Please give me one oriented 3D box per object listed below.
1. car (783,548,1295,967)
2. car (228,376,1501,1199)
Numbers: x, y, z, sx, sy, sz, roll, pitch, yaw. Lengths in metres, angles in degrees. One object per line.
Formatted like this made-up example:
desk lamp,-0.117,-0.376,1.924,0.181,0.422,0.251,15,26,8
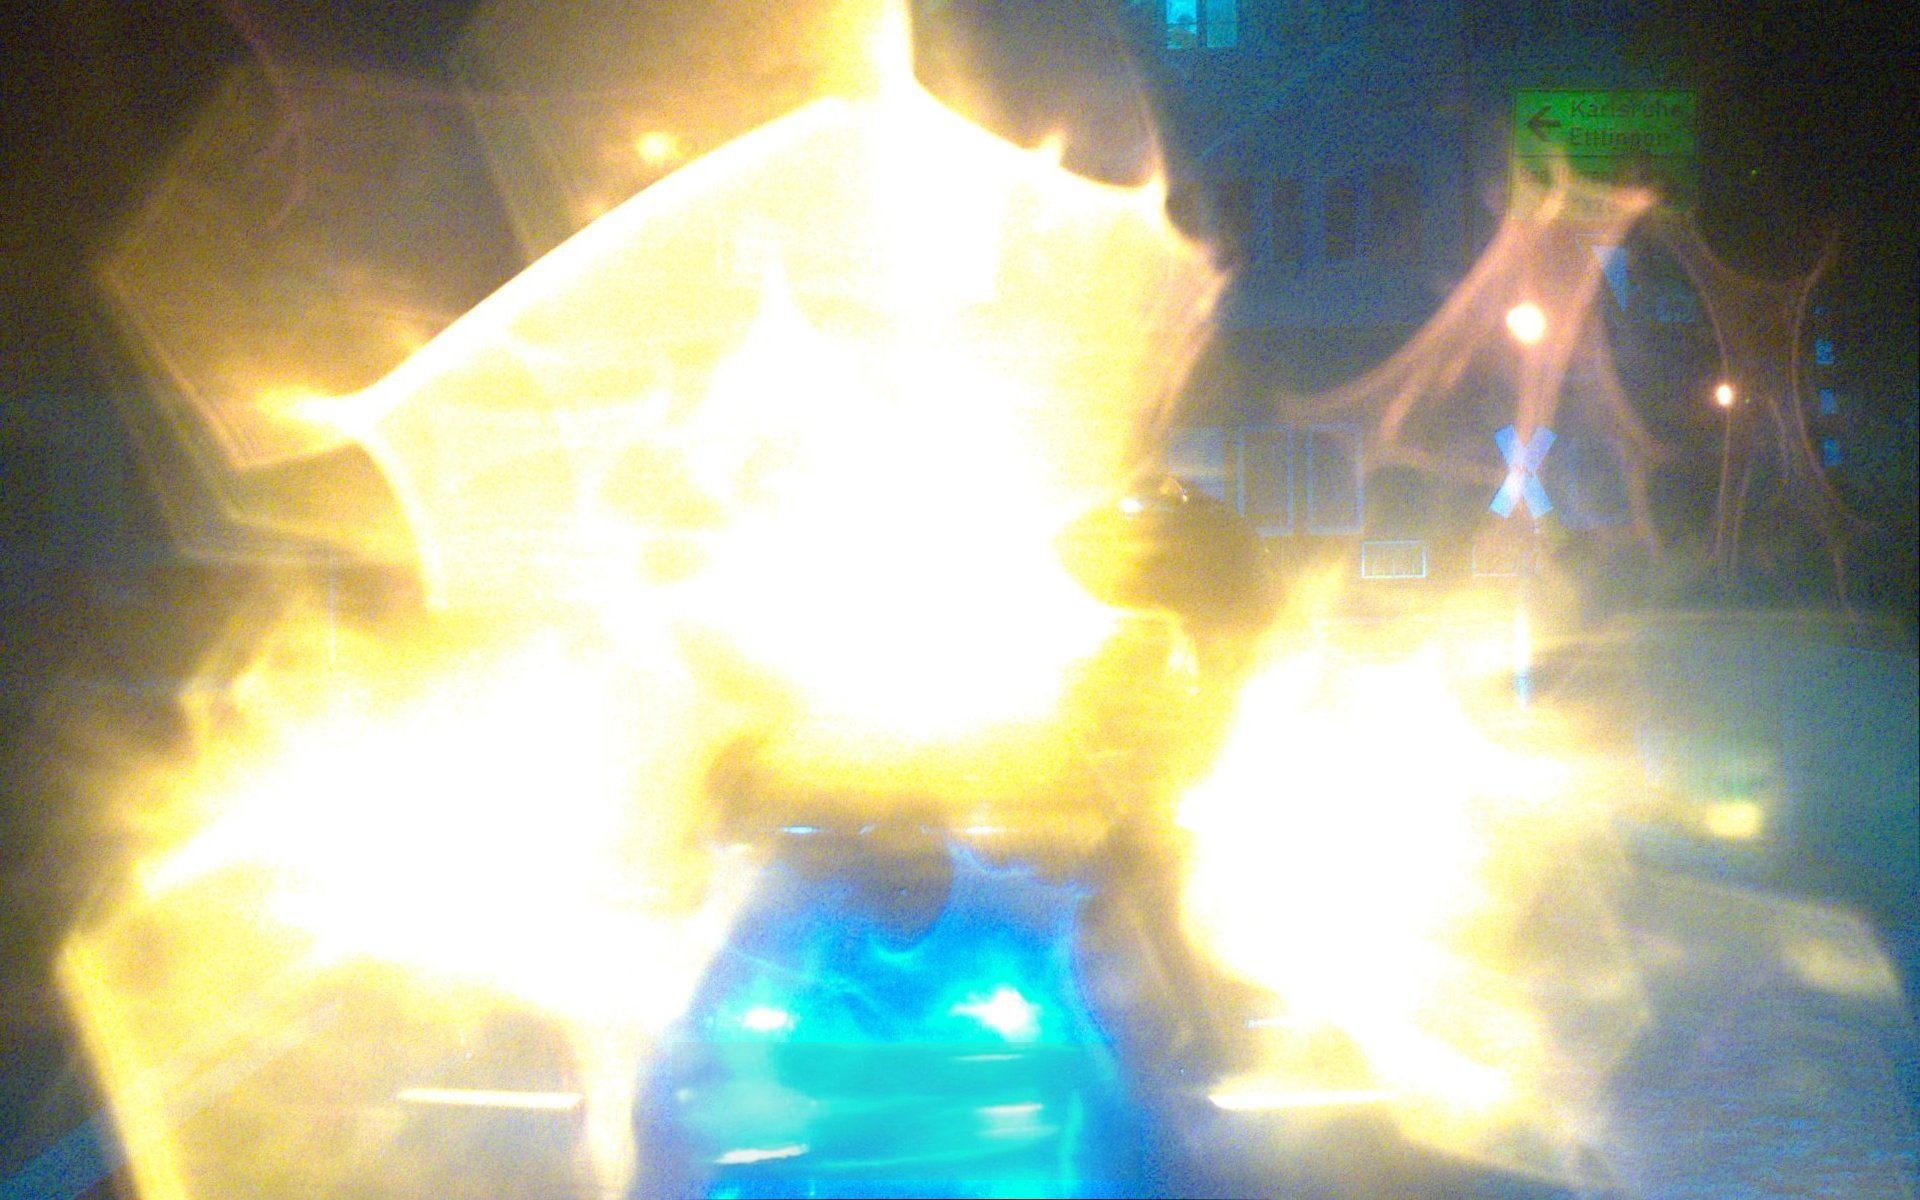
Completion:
car,0.367,0.512,13.761,1.744,1.410,4.000,0,1,3
car,-0.117,0.474,6.802,1.791,1.675,3.904,0,1,1
